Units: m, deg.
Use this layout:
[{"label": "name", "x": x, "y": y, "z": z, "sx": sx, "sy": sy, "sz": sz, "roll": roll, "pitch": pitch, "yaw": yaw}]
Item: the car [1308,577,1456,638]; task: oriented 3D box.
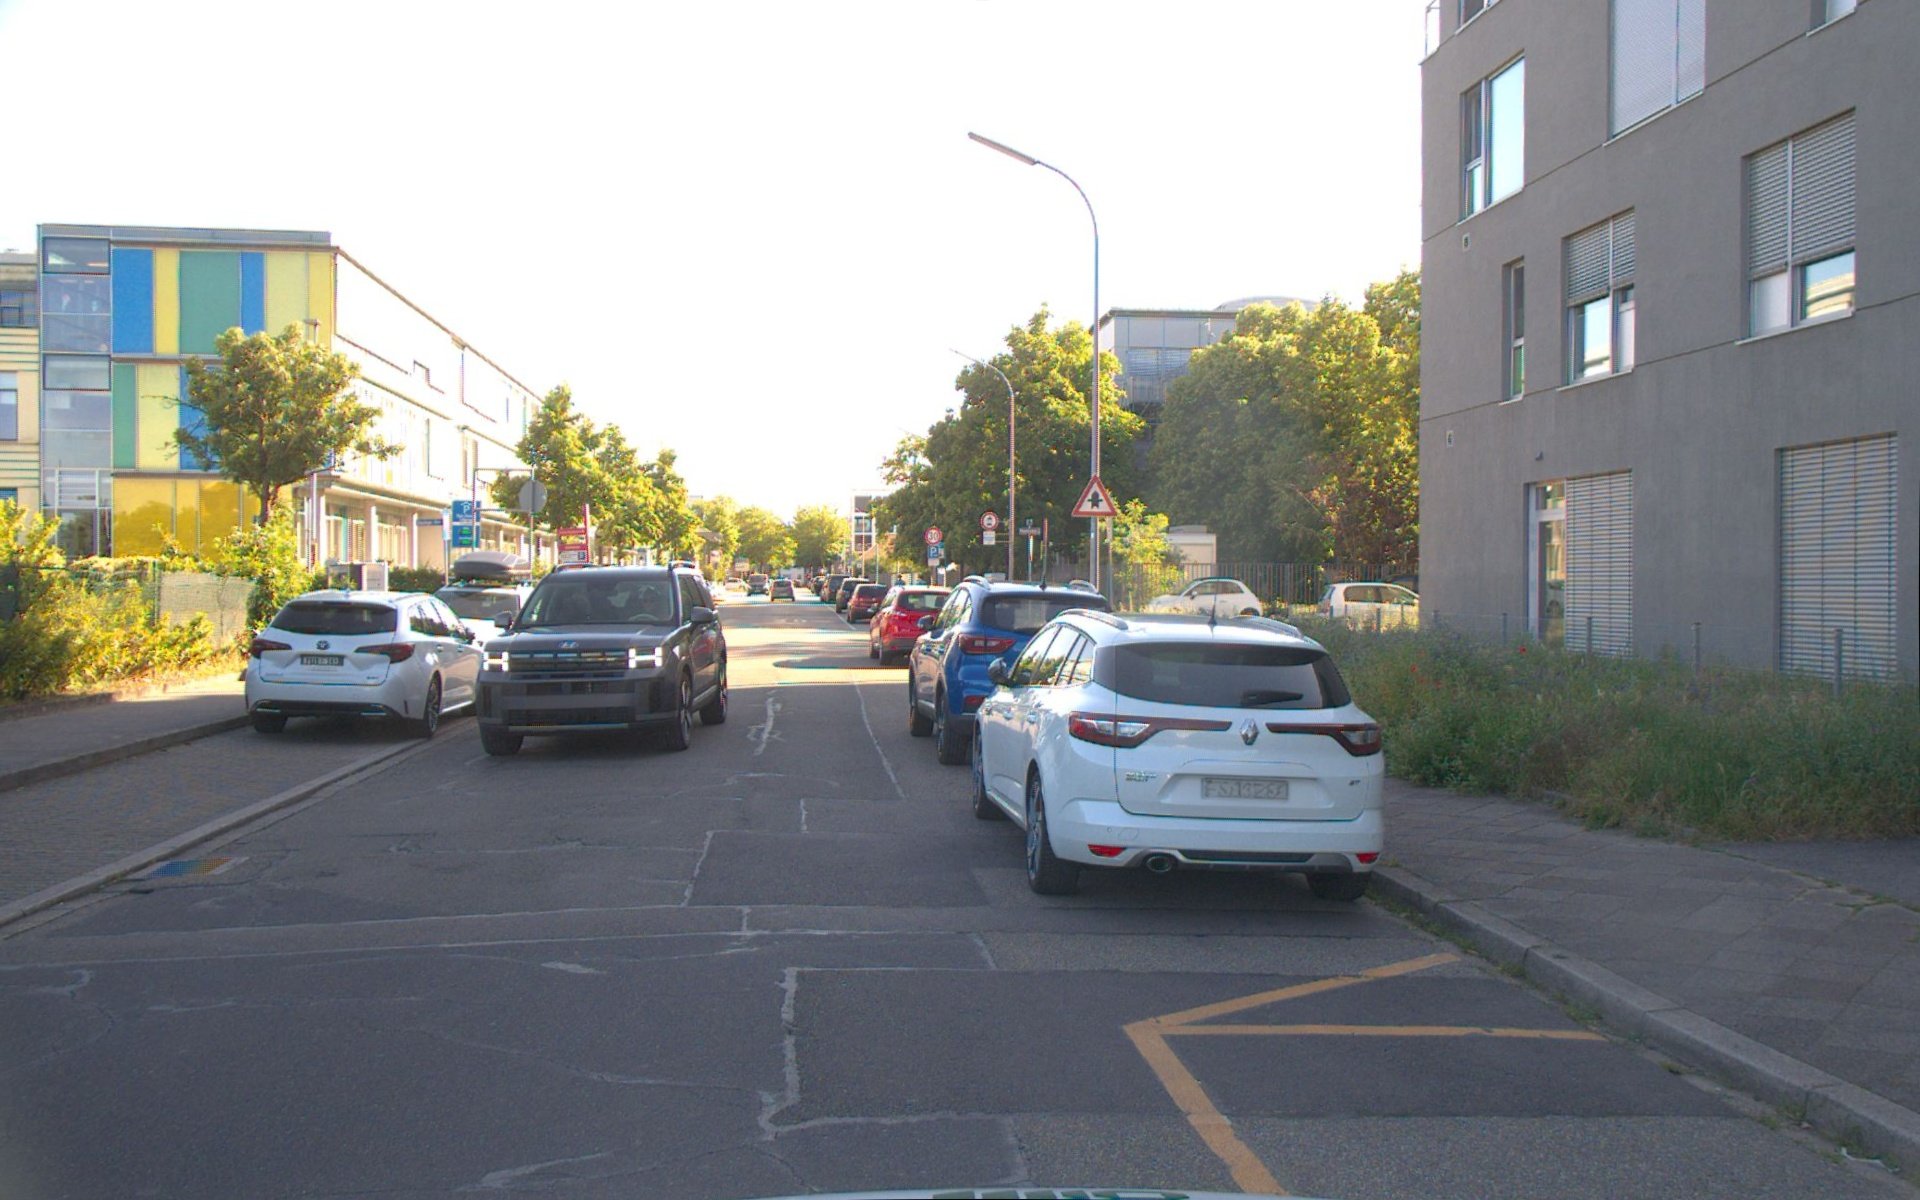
[{"label": "car", "x": 10.557, "y": 0.169, "z": 41.525, "sx": 3.259, "sy": 1.483, "sz": 1.714, "roll": 0, "pitch": 1, "yaw": -1}]

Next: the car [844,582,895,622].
[{"label": "car", "x": -3.570, "y": 0.048, "z": 64.636, "sx": 1.687, "sy": 1.480, "sz": 4.645, "roll": 1, "pitch": 1, "yaw": -7}]

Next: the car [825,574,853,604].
[{"label": "car", "x": -7.731, "y": -0.719, "z": 105.372, "sx": 1.699, "sy": 1.862, "sz": 3.901, "roll": 0, "pitch": 1, "yaw": -6}]

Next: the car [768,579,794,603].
[{"label": "car", "x": -12.251, "y": -0.618, "z": 113.433, "sx": 1.710, "sy": 1.570, "sz": 3.995, "roll": 0, "pitch": 1, "yaw": -6}]

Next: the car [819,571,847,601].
[{"label": "car", "x": -9.072, "y": -1.005, "z": 117.771, "sx": 1.838, "sy": 2.013, "sz": 3.995, "roll": -1, "pitch": 1, "yaw": -6}]

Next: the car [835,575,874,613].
[{"label": "car", "x": -5.161, "y": -0.299, "z": 80.577, "sx": 1.777, "sy": 1.695, "sz": 4.588, "roll": 1, "pitch": 1, "yaw": -5}]

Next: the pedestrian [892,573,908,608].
[{"label": "pedestrian", "x": -3.046, "y": -0.485, "z": 84.591, "sx": 0.704, "sy": 1.788, "sz": 0.884, "roll": -2, "pitch": 1, "yaw": -5}]

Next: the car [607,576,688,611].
[{"label": "car", "x": -15.574, "y": -0.315, "z": 82.549, "sx": 3.914, "sy": 1.635, "sz": 1.868, "roll": 1, "pitch": 0, "yaw": -10}]

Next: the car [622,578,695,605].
[{"label": "car", "x": -16.611, "y": -0.449, "z": 91.271, "sx": 3.914, "sy": 1.382, "sz": 1.739, "roll": 1, "pitch": 0, "yaw": -10}]

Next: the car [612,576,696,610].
[{"label": "car", "x": -15.803, "y": -0.388, "z": 85.492, "sx": 4.169, "sy": 1.640, "sz": 2.043, "roll": 1, "pitch": 0, "yaw": -10}]

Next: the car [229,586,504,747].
[{"label": "car", "x": -6.289, "y": 0.622, "z": 18.071, "sx": 1.713, "sy": 1.471, "sz": 4.536, "roll": 2, "pitch": 1, "yaw": -6}]

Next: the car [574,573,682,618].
[{"label": "car", "x": -15.149, "y": -0.204, "z": 75.699, "sx": 4.651, "sy": 1.897, "sz": 1.825, "roll": 1, "pitch": 1, "yaw": -6}]

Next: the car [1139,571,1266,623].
[{"label": "car", "x": 7.216, "y": -0.098, "z": 49.404, "sx": 3.477, "sy": 1.512, "sz": 1.599, "roll": 0, "pitch": 1, "yaw": -5}]

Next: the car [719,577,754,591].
[{"label": "car", "x": -25.889, "y": -1.871, "z": 191.312, "sx": 3.910, "sy": 1.545, "sz": 1.997, "roll": 0, "pitch": -1, "yaw": -6}]

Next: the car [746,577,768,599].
[{"label": "car", "x": -17.910, "y": -1.097, "z": 146.104, "sx": 1.918, "sy": 1.900, "sz": 5.247, "roll": 0, "pitch": 1, "yaw": -7}]

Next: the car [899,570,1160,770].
[{"label": "car", "x": 0.500, "y": 0.560, "z": 16.092, "sx": 1.782, "sy": 1.627, "sz": 4.620, "roll": 2, "pitch": 0, "yaw": -7}]

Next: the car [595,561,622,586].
[{"label": "car", "x": -30.931, "y": -2.331, "z": 145.681, "sx": 1.955, "sy": 2.049, "sz": 3.994, "roll": 0, "pitch": -1, "yaw": -6}]

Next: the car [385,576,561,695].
[{"label": "car", "x": -7.070, "y": 0.449, "z": 24.424, "sx": 1.663, "sy": 1.540, "sz": 4.511, "roll": 2, "pitch": 0, "yaw": -6}]

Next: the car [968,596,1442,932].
[{"label": "car", "x": 1.138, "y": 0.750, "z": 9.810, "sx": 1.711, "sy": 1.454, "sz": 4.581, "roll": 2, "pitch": 0, "yaw": -5}]

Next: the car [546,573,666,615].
[{"label": "car", "x": -14.371, "y": -0.245, "z": 67.324, "sx": 4.519, "sy": 1.680, "sz": 1.867, "roll": 0, "pitch": 0, "yaw": -3}]

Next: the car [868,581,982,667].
[{"label": "car", "x": -0.758, "y": 0.414, "z": 32.340, "sx": 1.784, "sy": 1.526, "sz": 4.446, "roll": 2, "pitch": 0, "yaw": -7}]

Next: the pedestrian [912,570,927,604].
[{"label": "pedestrian", "x": -2.069, "y": -0.675, "z": 84.866, "sx": 0.685, "sy": 1.690, "sz": 0.751, "roll": -2, "pitch": 1, "yaw": -6}]

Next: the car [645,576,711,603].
[{"label": "car", "x": -18.415, "y": -0.697, "z": 108.112, "sx": 4.137, "sy": 1.631, "sz": 1.868, "roll": 1, "pitch": 0, "yaw": -10}]

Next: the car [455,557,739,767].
[{"label": "car", "x": -3.457, "y": 0.507, "z": 16.730, "sx": 1.903, "sy": 1.757, "sz": 4.837, "roll": -2, "pitch": 1, "yaw": -2}]
